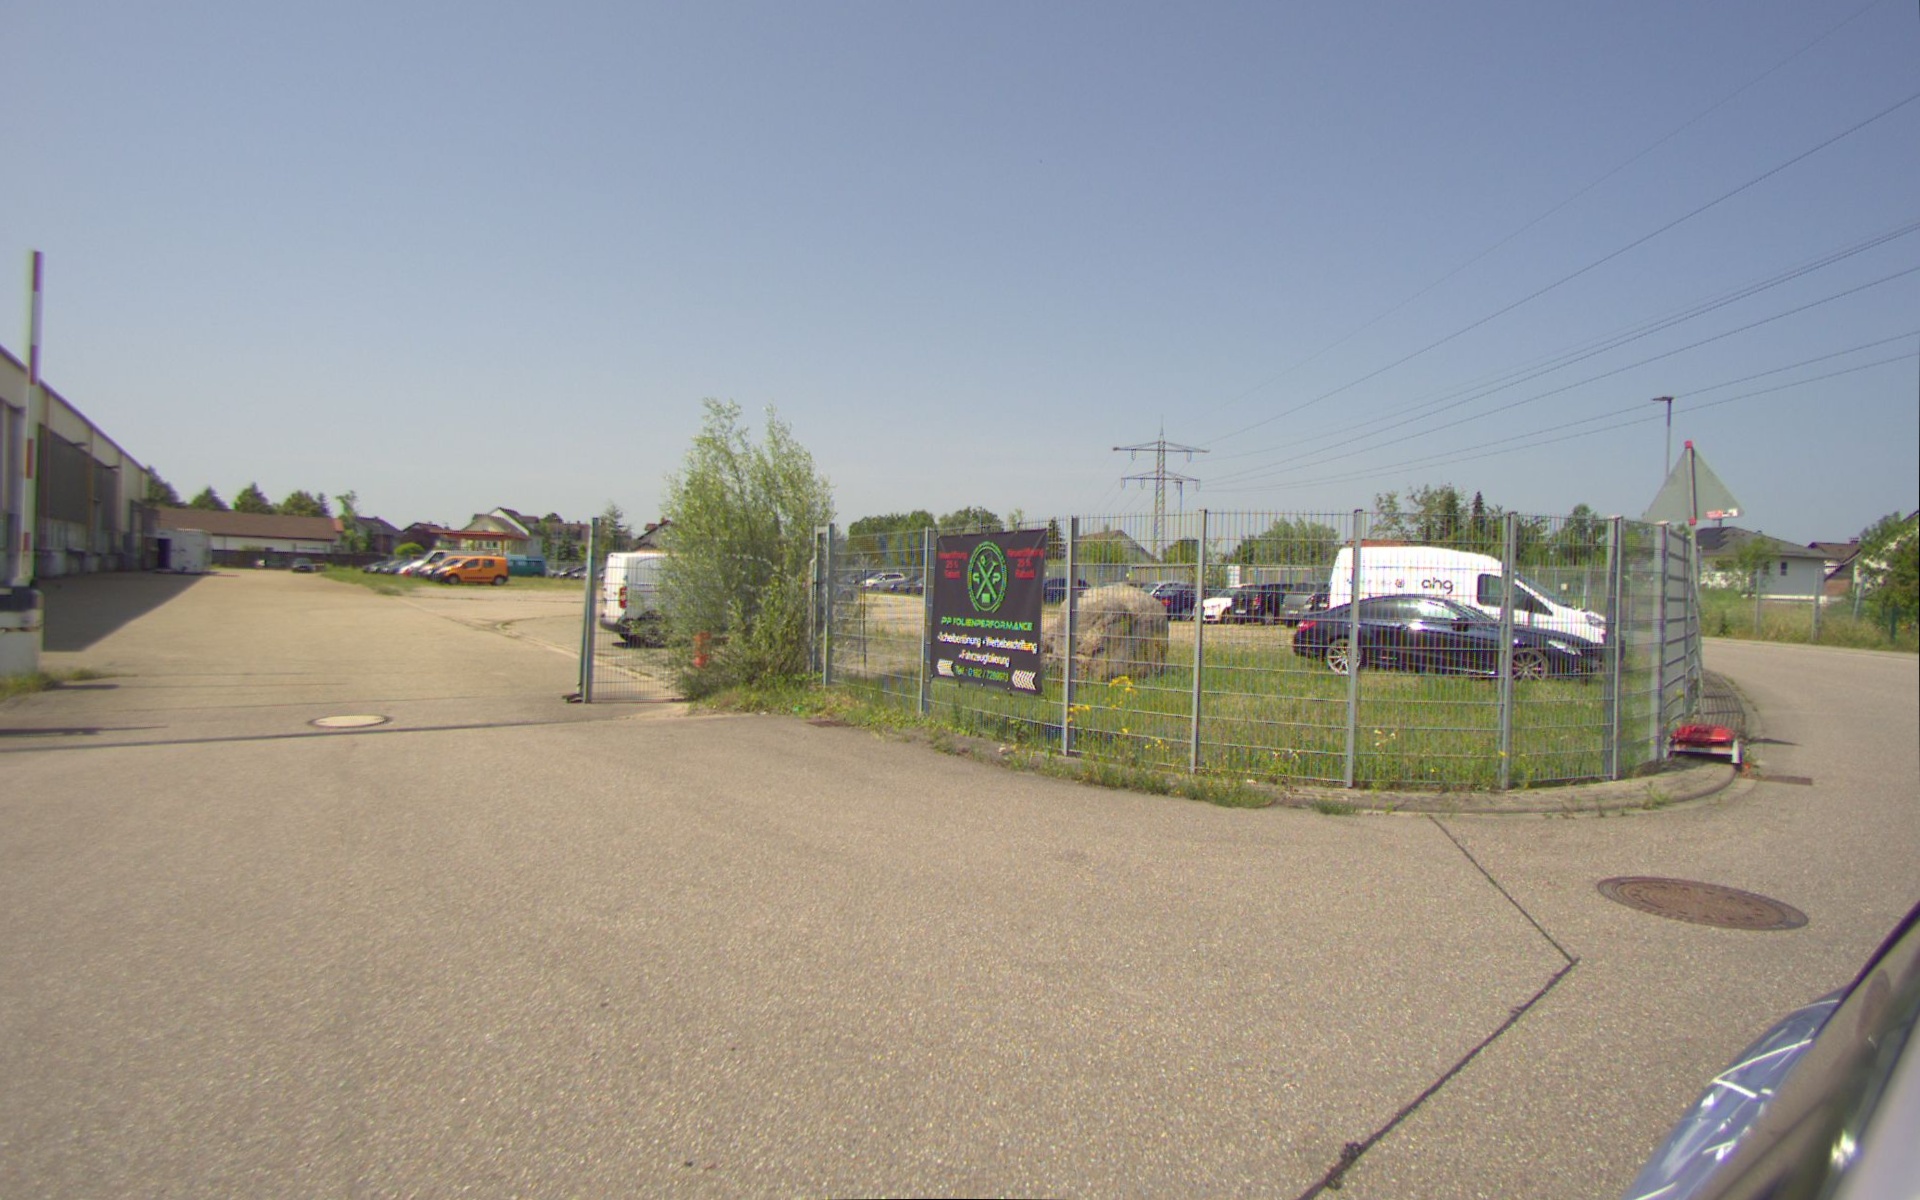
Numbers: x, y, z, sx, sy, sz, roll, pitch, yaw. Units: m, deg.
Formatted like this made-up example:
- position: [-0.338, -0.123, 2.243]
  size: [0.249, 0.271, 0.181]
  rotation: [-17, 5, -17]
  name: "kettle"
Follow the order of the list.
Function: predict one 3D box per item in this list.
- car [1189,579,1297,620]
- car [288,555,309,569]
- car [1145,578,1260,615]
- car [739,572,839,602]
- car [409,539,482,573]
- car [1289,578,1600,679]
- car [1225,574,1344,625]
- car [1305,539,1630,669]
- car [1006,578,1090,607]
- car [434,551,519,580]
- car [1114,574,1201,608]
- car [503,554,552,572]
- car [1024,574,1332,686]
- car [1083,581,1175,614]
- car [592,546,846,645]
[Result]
- position: [10.423, -0.011, 37.330]
  size: [3.460, 1.406, 1.640]
  rotation: [1, 1, -18]
  name: "car"
- position: [-64.797, -3.729, 99.101]
  size: [1.576, 1.348, 3.840]
  rotation: [1, 2, -35]
  name: "car"
- position: [9.616, -0.136, 40.152]
  size: [4.108, 1.370, 1.727]
  rotation: [1, 2, -19]
  name: "car"
- position: [-8.222, -0.625, 48.739]
  size: [4.433, 1.367, 1.628]
  rotation: [0, 2, -31]
  name: "car"
- position: [-36.170, -3.041, 71.174]
  size: [4.305, 2.199, 1.974]
  rotation: [1, 0, -34]
  name: "car"
- position: [8.010, 0.382, 16.928]
  size: [4.411, 1.377, 1.881]
  rotation: [3, 2, 37]
  name: "car"
- position: [11.204, -0.062, 34.991]
  size: [3.584, 1.495, 1.757]
  rotation: [-2, 4, -18]
  name: "car"
- position: [9.578, -0.039, 19.345]
  size: [5.306, 2.175, 1.884]
  rotation: [3, 2, 34]
  name: "car"
- position: [4.654, -0.417, 53.656]
  size: [4.090, 1.354, 1.642]
  rotation: [-2, 3, -20]
  name: "car"
- position: [-28.479, -1.994, 59.668]
  size: [4.305, 1.504, 1.753]
  rotation: [1, 0, -34]
  name: "car"
- position: [8.243, -0.375, 42.310]
  size: [3.209, 1.371, 1.531]
  rotation: [1, 2, -20]
  name: "car"
- position: [-39.797, -3.398, 93.106]
  size: [3.892, 1.504, 1.753]
  rotation: [1, 0, -34]
  name: "car"
- position: [3.072, 0.336, 14.489]
  size: [3.902, 1.293, 1.884]
  rotation: [3, 2, 34]
  name: "car"
- position: [7.491, -0.127, 44.938]
  size: [3.597, 1.370, 1.745]
  rotation: [1, 2, -17]
  name: "car"
- position: [-5.121, -0.133, 21.708]
  size: [4.976, 1.923, 1.860]
  rotation: [0, 2, -31]
  name: "car"
